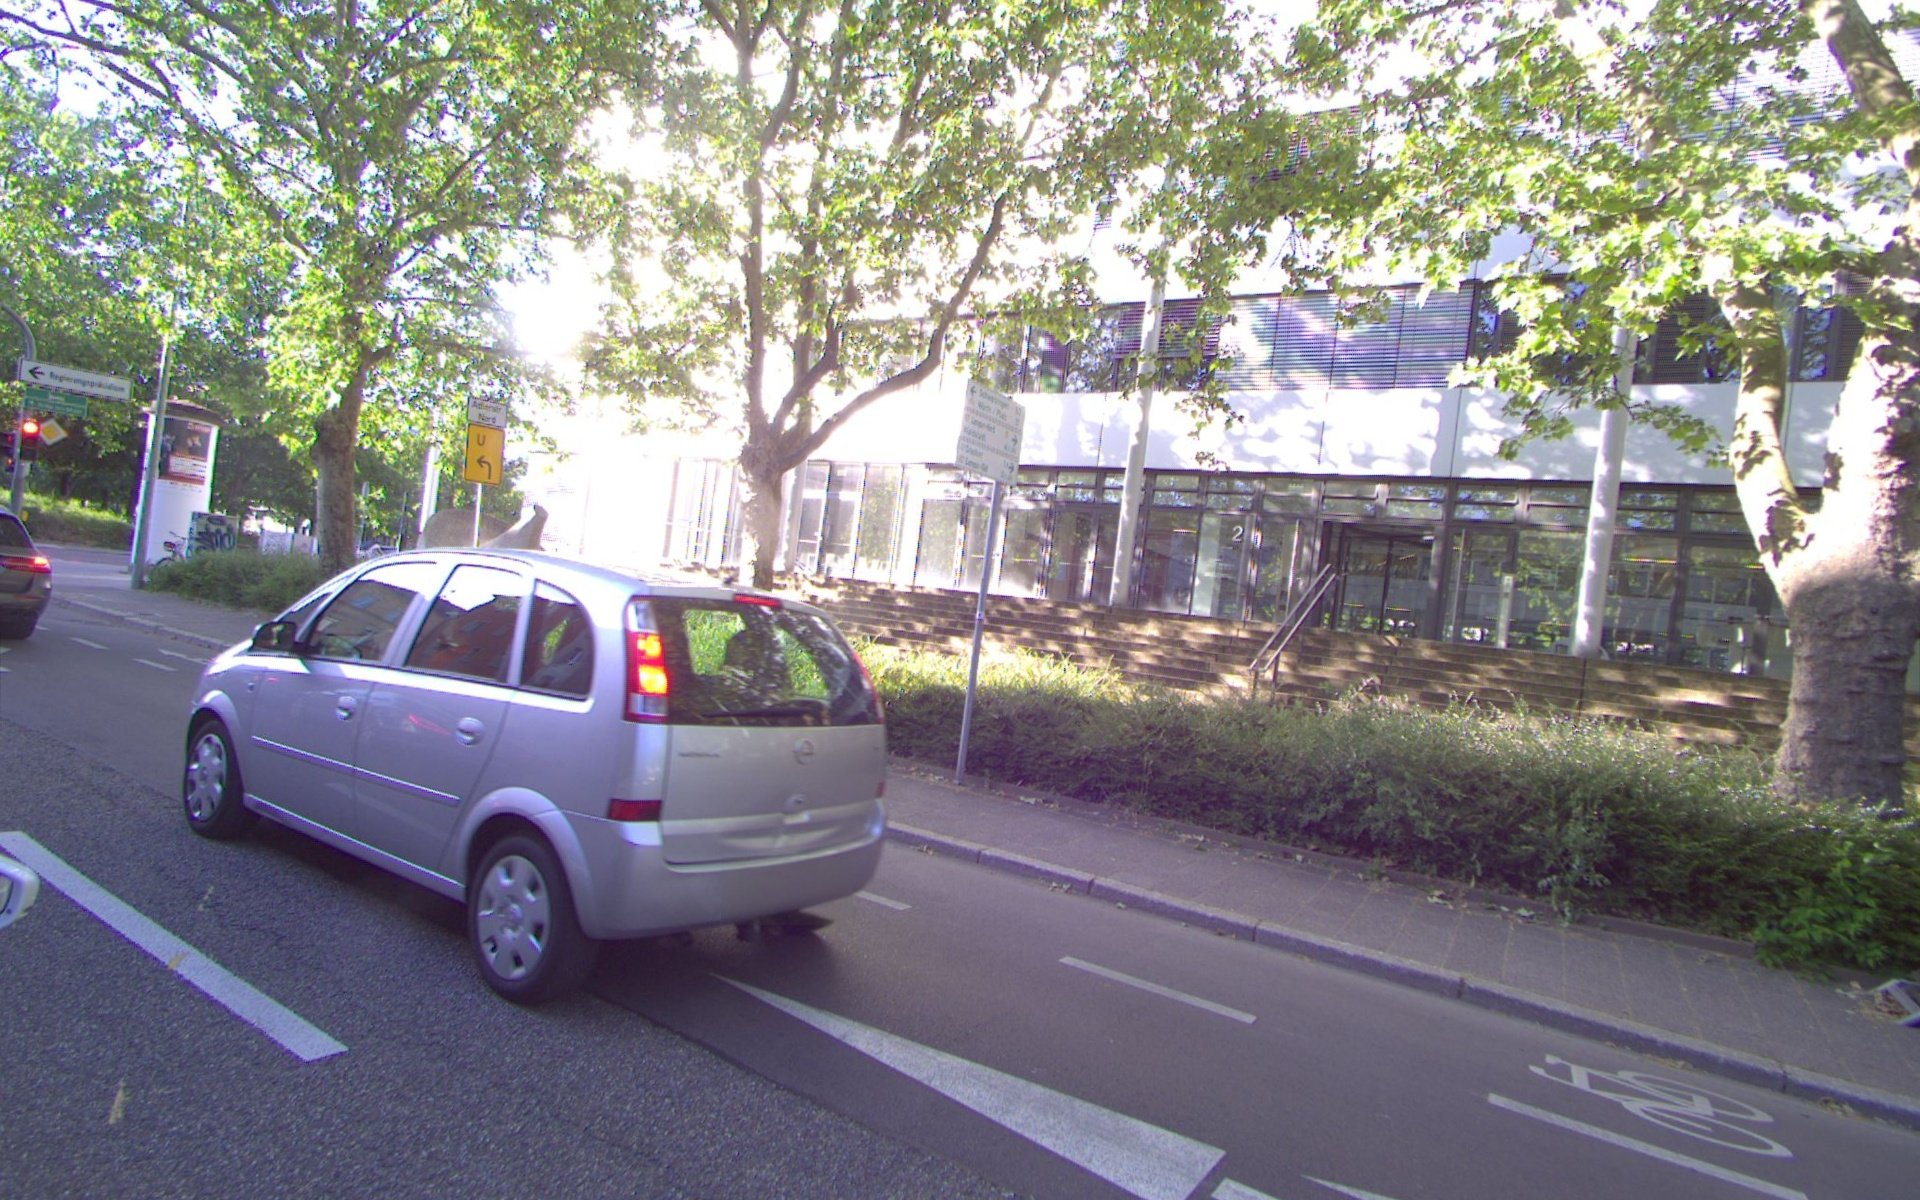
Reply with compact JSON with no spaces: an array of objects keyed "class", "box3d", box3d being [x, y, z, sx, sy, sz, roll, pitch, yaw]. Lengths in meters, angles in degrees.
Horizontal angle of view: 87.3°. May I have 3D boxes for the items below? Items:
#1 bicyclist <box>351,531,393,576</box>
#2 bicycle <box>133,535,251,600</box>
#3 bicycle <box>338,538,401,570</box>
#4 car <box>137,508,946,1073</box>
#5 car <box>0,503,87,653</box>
[{"class":"bicyclist","box3d":[-22.430,-1.787,38.385,0.706,1.537,1.075,7,0,36]},{"class":"bicycle","box3d":[-15.987,-0.662,20.981,0.502,1.110,1.806,7,-1,34]},{"class":"bicycle","box3d":[-22.476,-1.752,38.328,0.714,0.893,1.895,7,-2,35]},{"class":"car","box3d":[-2.188,0.586,4.932,3.797,1.621,1.704,7,-2,34]},{"class":"car","box3d":[-11.894,-0.506,11.171,4.592,1.480,1.918,7,-3,32]}]
